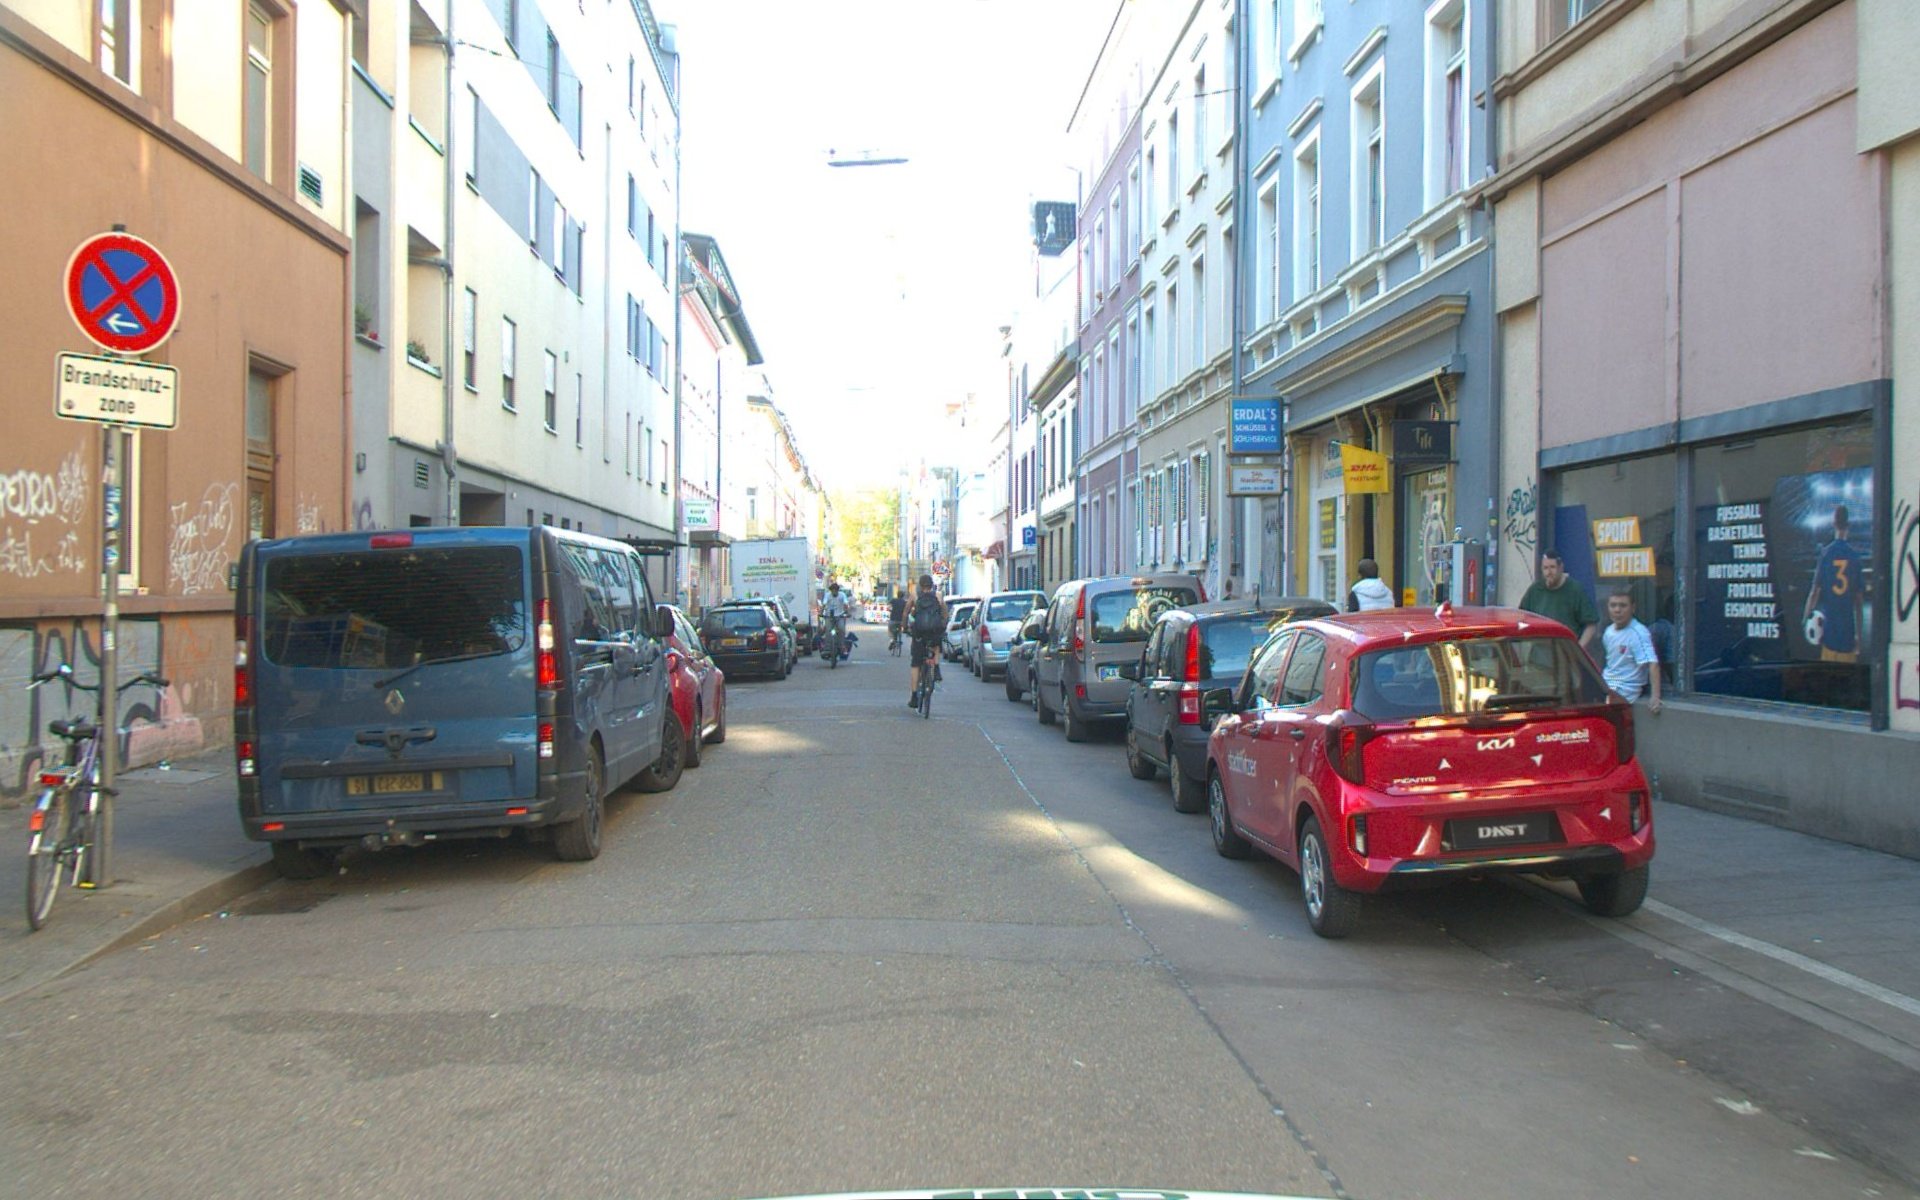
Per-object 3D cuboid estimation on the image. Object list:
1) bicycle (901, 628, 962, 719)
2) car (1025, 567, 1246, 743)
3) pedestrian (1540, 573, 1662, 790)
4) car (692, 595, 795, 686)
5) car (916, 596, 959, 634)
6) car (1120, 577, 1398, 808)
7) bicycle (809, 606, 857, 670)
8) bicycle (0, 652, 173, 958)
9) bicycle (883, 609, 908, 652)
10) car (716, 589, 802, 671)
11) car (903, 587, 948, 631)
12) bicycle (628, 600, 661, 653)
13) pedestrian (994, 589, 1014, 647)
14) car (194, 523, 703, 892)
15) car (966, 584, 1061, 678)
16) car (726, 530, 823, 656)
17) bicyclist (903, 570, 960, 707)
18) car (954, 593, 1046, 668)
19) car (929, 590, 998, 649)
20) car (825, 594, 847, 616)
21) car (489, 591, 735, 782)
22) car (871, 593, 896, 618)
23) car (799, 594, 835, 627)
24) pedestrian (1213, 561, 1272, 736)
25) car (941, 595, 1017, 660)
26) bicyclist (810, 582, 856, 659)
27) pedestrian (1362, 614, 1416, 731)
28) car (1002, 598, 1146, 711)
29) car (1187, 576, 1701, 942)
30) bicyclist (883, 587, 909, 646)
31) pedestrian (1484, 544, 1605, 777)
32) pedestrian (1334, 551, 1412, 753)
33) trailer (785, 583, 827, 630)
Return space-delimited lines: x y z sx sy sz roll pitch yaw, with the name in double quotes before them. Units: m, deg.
"bicycle" -0.385 0.920 21.385 0.663 1.093 1.940 1 -1 -4
"car" 1.940 0.592 19.553 1.861 1.825 4.311 1 0 -4
"pedestrian" 4.731 0.592 12.235 0.576 1.556 0.657 1 -1 -9
"car" -4.184 0.735 32.531 1.683 1.504 4.495 -3 1 -4
"car" -0.991 0.631 70.337 1.715 1.513 3.798 -1 0 -2
"car" 2.326 0.678 13.638 1.538 1.584 3.313 -3 0 -2
"bicycle" -2.829 0.822 37.138 0.958 1.337 2.554 -1 0 -3
"bicycle" -4.223 0.903 8.019 0.542 1.238 1.976 1 -1 -21
"bicycle" -1.792 0.842 45.727 0.636 1.149 2.134 1 -1 -4
"car" -4.612 0.653 38.454 1.683 1.679 4.242 -3 1 -4
"car" -1.617 0.414 75.367 1.716 1.911 3.967 -1 0 -6
"bicycle" -7.422 0.617 38.929 0.480 1.185 1.772 -2 0 -3
"pedestrian" 1.600 0.645 59.760 0.631 2.049 0.763 1 -1 -4
"car" -3.088 0.549 11.326 1.980 1.912 5.294 1 0 -2
"car" 1.023 0.595 32.963 1.526 1.742 3.555 1 -1 -4
"car" -5.365 -0.170 48.834 2.297 3.349 7.149 -2 0 -3
"bicyclist" -0.380 0.489 21.318 0.654 1.706 1.096 1 -1 -4
"car" 0.873 0.679 38.438 1.663 1.570 4.625 -2 0 -4
"car" 0.059 0.572 51.558 1.880 1.736 4.363 0 0 -4
"car" -9.845 0.403 131.645 1.715 1.713 3.793 -1 0 -4
"car" -3.255 0.757 16.170 1.716 1.548 3.866 -3 0 -3
"car" -5.038 0.359 108.800 1.579 1.587 3.607 1 0 -4
"car" -7.112 0.530 82.474 1.715 1.600 3.793 -1 0 -4
"pedestrian" 2.858 0.484 16.764 0.432 1.734 0.654 1 -1 -3
"car" 0.456 0.702 43.626 1.653 1.570 4.043 -2 0 -4
"bicyclist" -2.839 0.444 36.931 0.931 1.656 0.952 -2 0 -2
"pedestrian" 4.672 0.779 18.015 0.429 1.244 0.514 1 -1 -2
"car" 1.631 0.770 24.748 1.522 1.537 3.607 1 0 -6
"car" 2.387 0.718 9.063 1.575 1.600 3.551 1 0 -4
"bicyclist" -1.782 0.461 45.683 0.658 1.595 0.715 1 -1 -6
"pedestrian" 4.576 0.464 12.960 0.618 1.771 0.656 1 -1 -16
"pedestrian" 3.696 0.463 14.809 0.550 1.771 0.427 1 -1 -6
"trailer" -7.260 0.318 78.337 1.845 2.129 3.734 -1 0 -4
